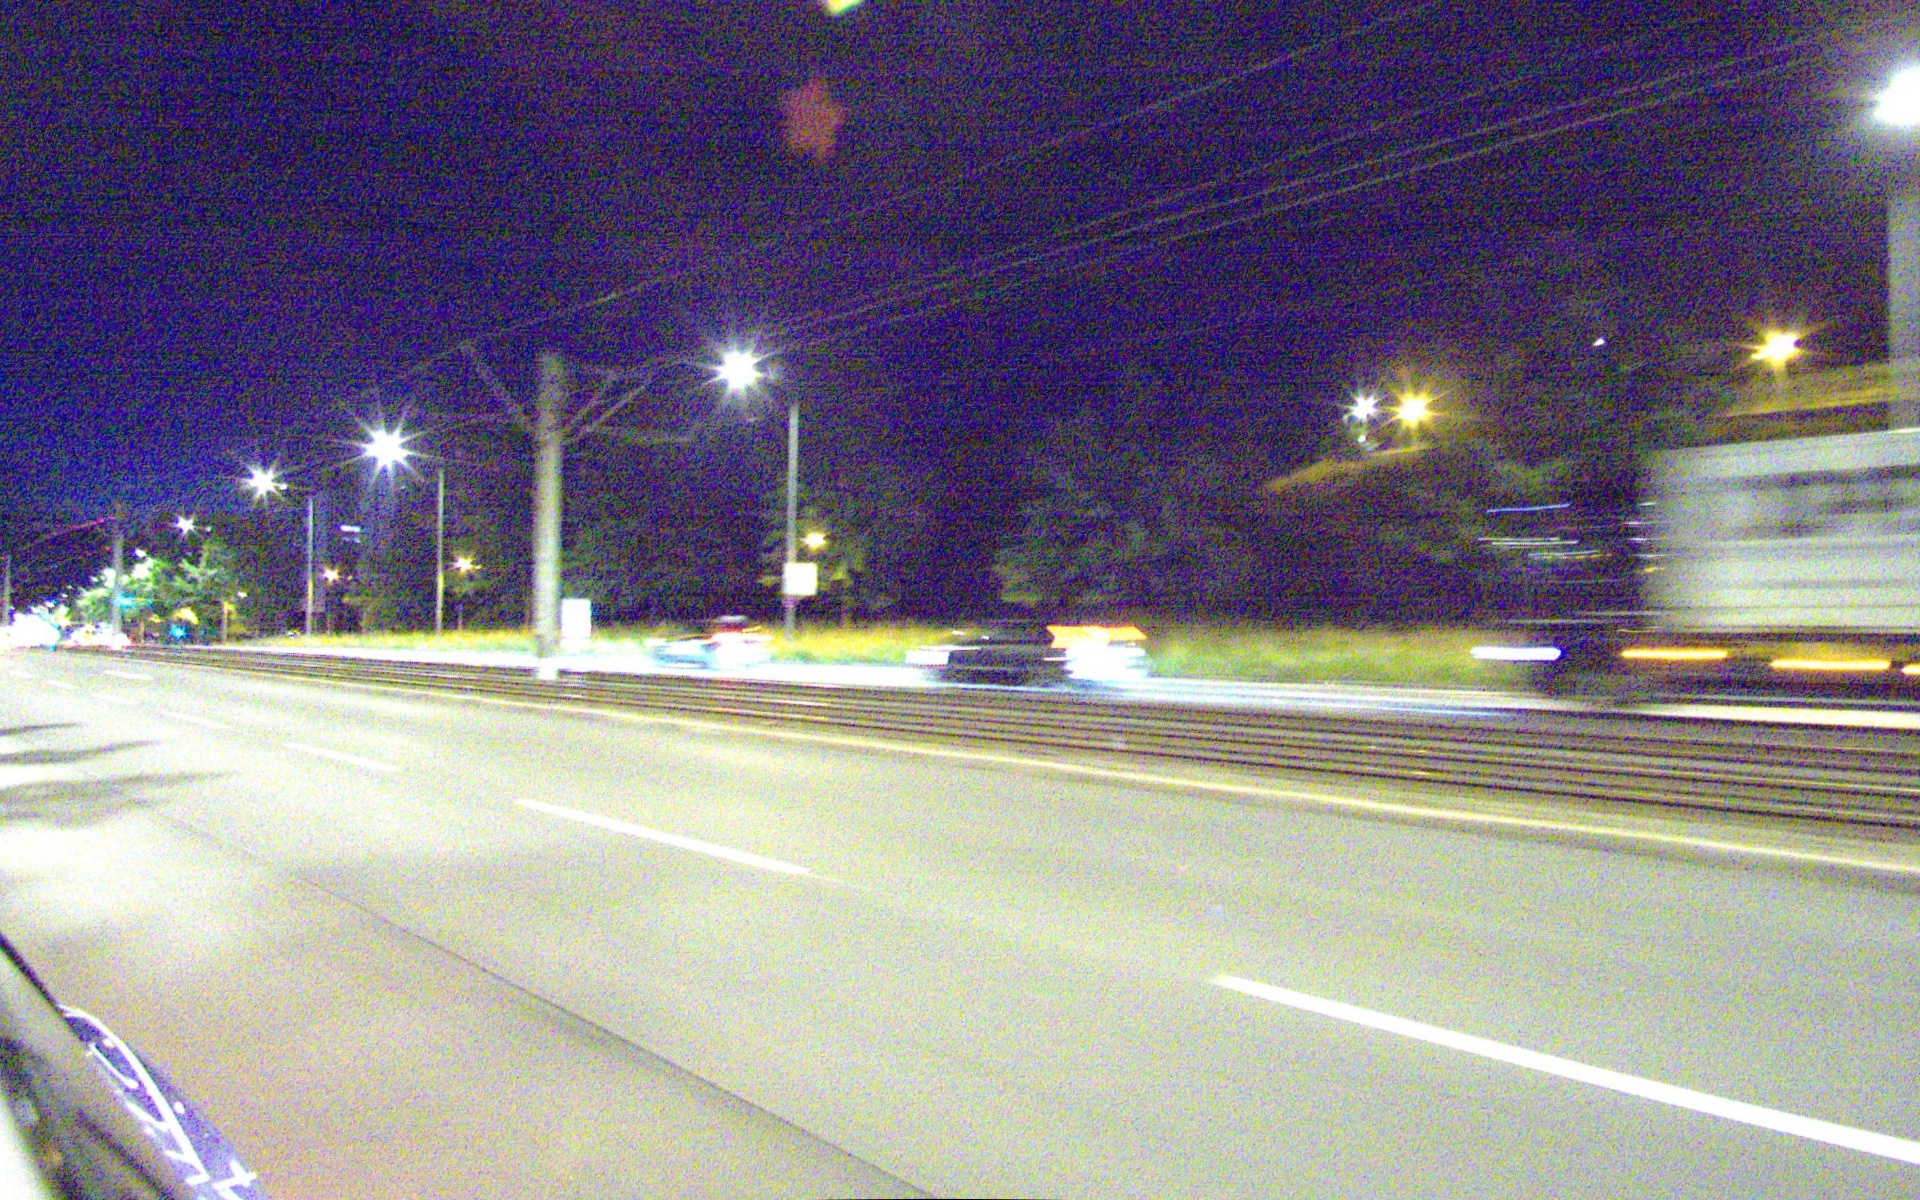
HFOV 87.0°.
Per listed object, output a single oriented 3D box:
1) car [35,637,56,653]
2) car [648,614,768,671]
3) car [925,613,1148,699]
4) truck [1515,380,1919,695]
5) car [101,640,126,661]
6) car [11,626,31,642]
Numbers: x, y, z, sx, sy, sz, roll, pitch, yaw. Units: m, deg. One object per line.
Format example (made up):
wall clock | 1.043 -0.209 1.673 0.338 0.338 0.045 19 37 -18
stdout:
car | -112.150 5.509 124.075 1.769 1.803 4.002 -1 0 -45
car | -7.923 1.271 31.642 3.960 1.637 1.707 -1 0 41
car | 1.445 1.024 19.898 4.079 1.510 1.787 -1 -1 38
truck | 13.781 -0.815 13.822 10.410 3.984 3.645 -1 0 39
car | -92.350 5.470 110.330 2.030 2.029 4.006 -1 0 -41
car | -120.203 4.332 129.526 1.769 1.921 4.002 -1 0 -45
